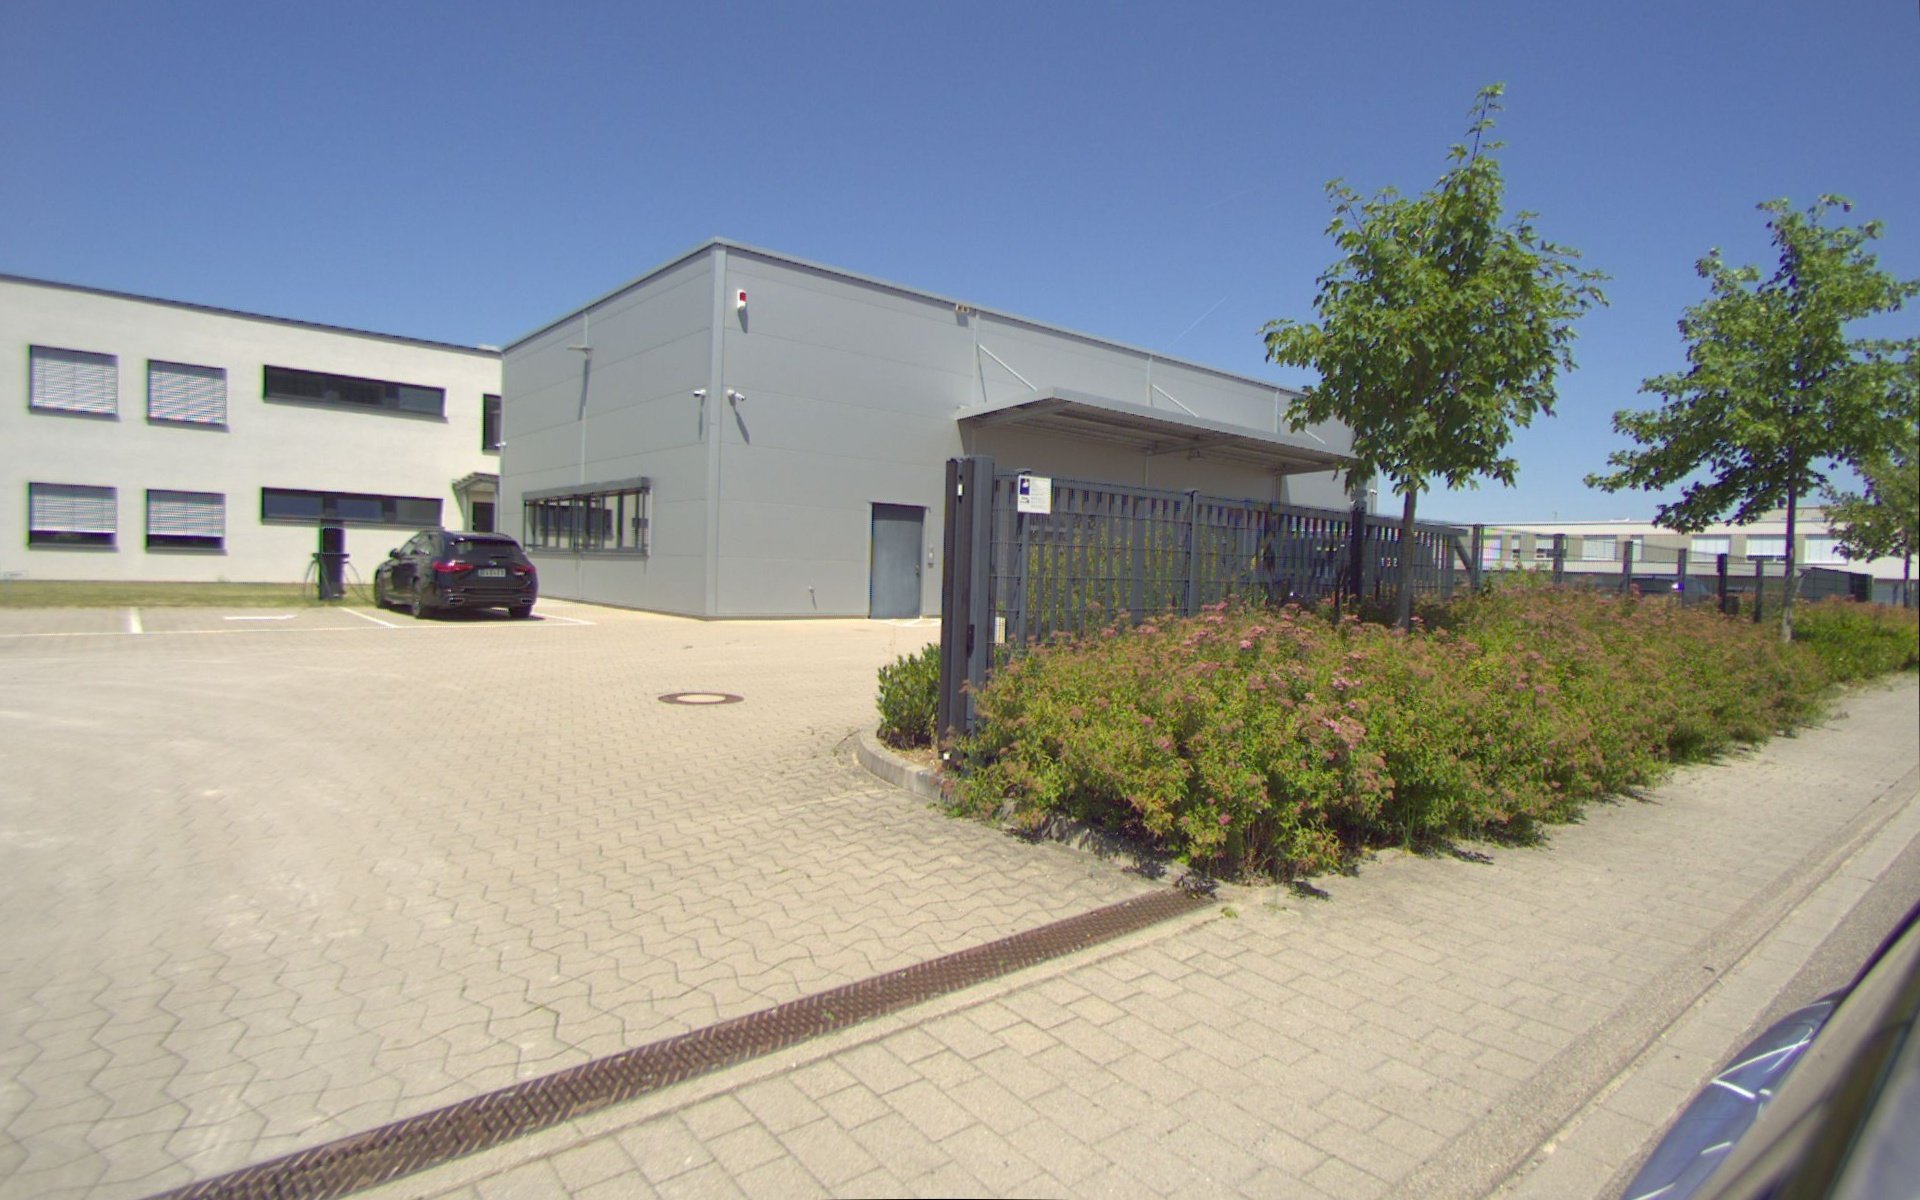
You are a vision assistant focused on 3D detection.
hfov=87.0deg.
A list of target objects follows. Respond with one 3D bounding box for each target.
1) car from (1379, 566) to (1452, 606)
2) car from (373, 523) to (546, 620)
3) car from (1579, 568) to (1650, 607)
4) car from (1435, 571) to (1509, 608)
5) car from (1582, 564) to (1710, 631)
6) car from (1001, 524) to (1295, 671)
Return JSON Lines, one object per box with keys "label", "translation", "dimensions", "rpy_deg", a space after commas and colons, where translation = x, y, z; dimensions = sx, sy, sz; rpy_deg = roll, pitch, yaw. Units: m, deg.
{"label": "car", "translation": [20.388, -0.643, 45.234], "dimensions": [3.719, 1.653, 1.517], "rpy_deg": [-1, 3, -41]}
{"label": "car", "translation": [-8.880, -0.537, 17.798], "dimensions": [1.818, 1.504, 3.996], "rpy_deg": [0, 3, -40]}
{"label": "car", "translation": [25.588, -0.505, 39.535], "dimensions": [3.274, 1.430, 1.460], "rpy_deg": [-1, 3, -41]}
{"label": "car", "translation": [21.853, -0.463, 43.140], "dimensions": [3.719, 1.448, 1.517], "rpy_deg": [-1, 3, -41]}
{"label": "car", "translation": [17.937, -0.052, 26.420], "dimensions": [3.513, 1.571, 1.814], "rpy_deg": [1, 2, -40]}
{"label": "car", "translation": [2.448, -0.078, 12.692], "dimensions": [3.811, 1.574, 1.546], "rpy_deg": [-1, 3, -40]}
